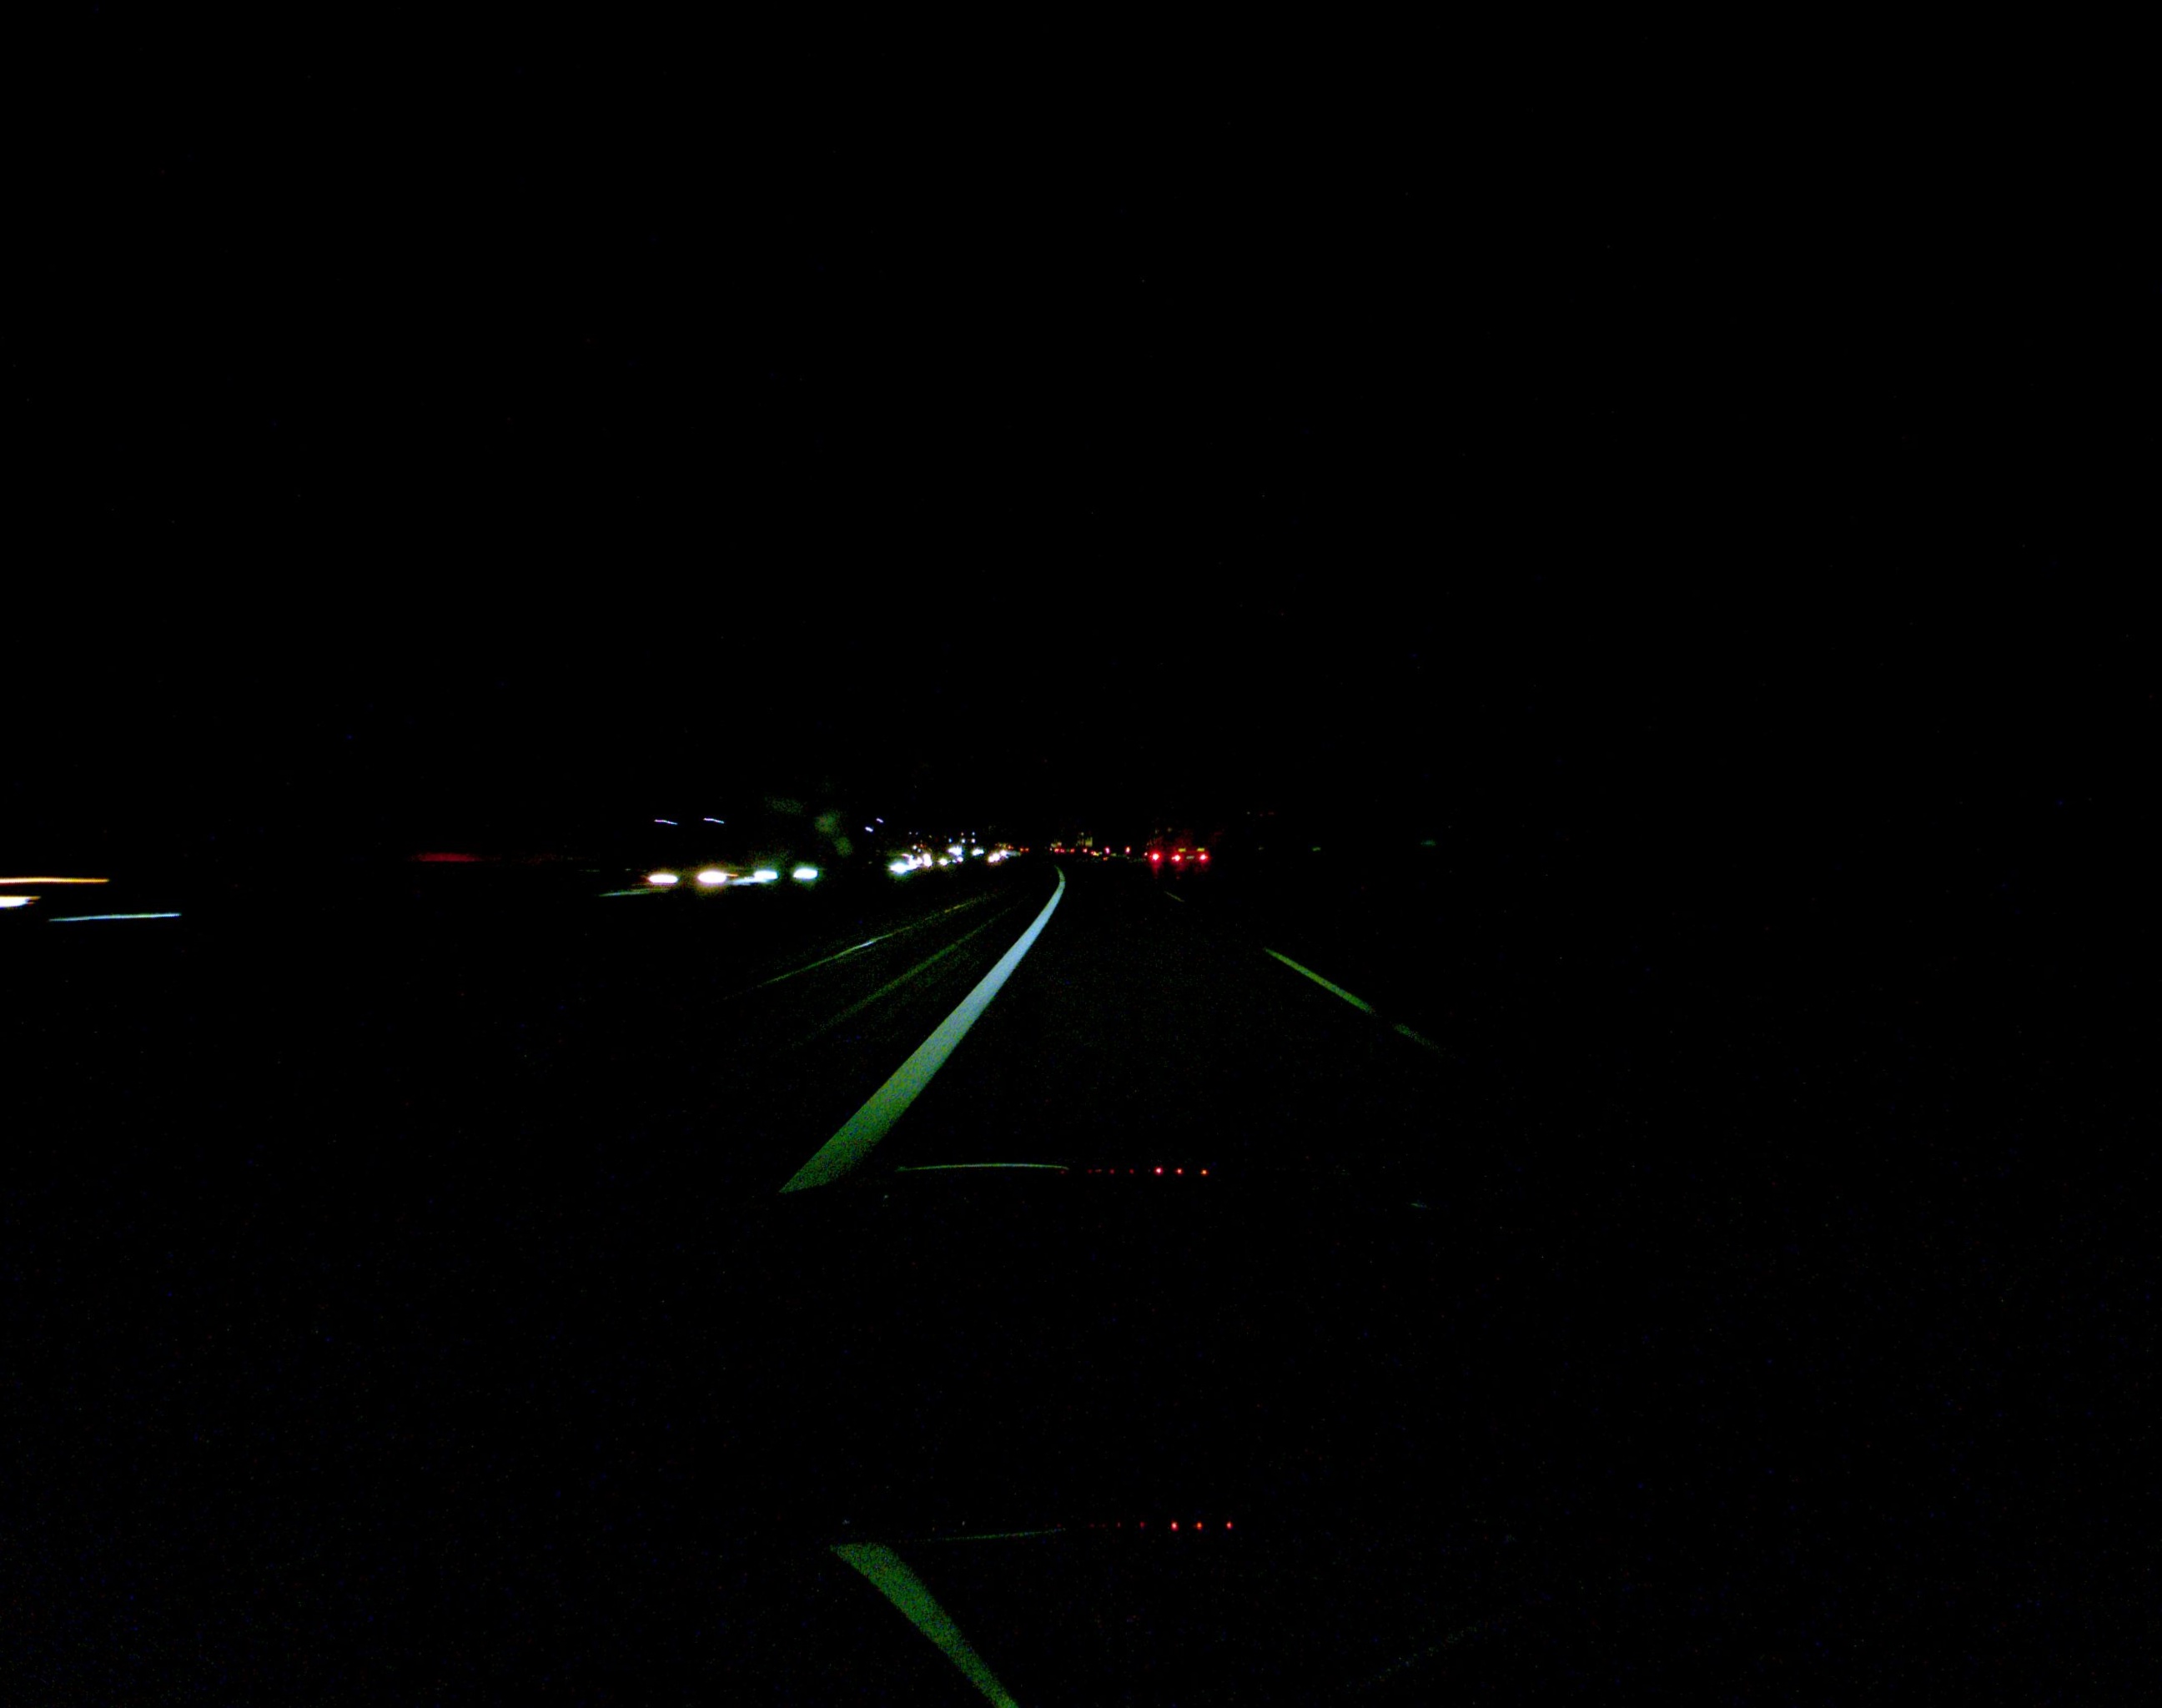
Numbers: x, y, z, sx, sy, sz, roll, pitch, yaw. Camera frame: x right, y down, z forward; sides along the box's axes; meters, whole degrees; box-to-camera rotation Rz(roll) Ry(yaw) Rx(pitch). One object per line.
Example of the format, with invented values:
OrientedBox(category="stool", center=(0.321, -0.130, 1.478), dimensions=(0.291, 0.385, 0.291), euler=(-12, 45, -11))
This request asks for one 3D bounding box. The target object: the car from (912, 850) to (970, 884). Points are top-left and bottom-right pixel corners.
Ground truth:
OrientedBox(category="car", center=(-6.671, 0.611, 39.400), dimensions=(1.897, 1.492, 4.867), euler=(-1, 0, 0))

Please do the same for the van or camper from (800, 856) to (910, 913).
OrientedBox(category="van or camper", center=(-6.499, 0.816, 24.006), dimensions=(1.732, 1.465, 4.870), euler=(-1, 0, 2))

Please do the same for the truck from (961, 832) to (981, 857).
OrientedBox(category="truck", center=(-19.484, -1.633, 144.439), dimensions=(3.104, 4.097, 7.062), euler=(2, -1, -5))

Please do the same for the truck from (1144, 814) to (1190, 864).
OrientedBox(category="truck", center=(7.491, -1.271, 71.779), dimensions=(2.855, 4.076, 7.504), euler=(-1, 0, -2))

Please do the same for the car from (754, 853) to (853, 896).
OrientedBox(category="car", center=(-10.440, 0.720, 31.032), dimensions=(1.896, 1.492, 4.939), euler=(-1, 0, 2))

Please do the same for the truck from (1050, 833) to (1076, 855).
OrientedBox(category="truck", center=(-3.896, -2.094, 174.321), dimensions=(3.345, 4.476, 13.860), euler=(2, 0, -10))

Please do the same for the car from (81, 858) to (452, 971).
OrientedBox(category="car", center=(-14.652, 0.956, 15.231), dimensions=(1.880, 1.676, 5.076), euler=(-1, 0, -2))

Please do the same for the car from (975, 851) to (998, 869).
OrientedBox(category="car", center=(-8.861, 0.612, 76.756), dimensions=(1.621, 1.492, 4.864), euler=(1, -2, -1))

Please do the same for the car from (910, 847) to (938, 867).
OrientedBox(category="car", center=(-16.785, 0.343, 87.320), dimensions=(1.897, 1.887, 5.020), euler=(1, -2, 1))

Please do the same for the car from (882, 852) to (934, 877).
OrientedBox(category="car", center=(-10.781, 0.631, 51.119), dimensions=(1.896, 1.492, 5.262), euler=(-1, 0, 2))

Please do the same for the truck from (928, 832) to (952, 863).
OrientedBox(category="truck", center=(-18.628, -0.931, 107.701), dimensions=(2.827, 3.916, 4.920), euler=(-2, 1, -9))

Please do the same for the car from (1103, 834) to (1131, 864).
OrientedBox(category="car", center=(3.255, -0.399, 74.408), dimensions=(2.329, 2.640, 5.246), euler=(0, -1, 0))

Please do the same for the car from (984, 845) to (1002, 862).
OrientedBox(category="car", center=(-10.205, -0.074, 94.620), dimensions=(1.872, 1.923, 4.861), euler=(-1, 0, -3))

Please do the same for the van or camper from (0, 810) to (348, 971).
OrientedBox(category="van or camper", center=(-18.810, 0.604, 16.405), dimensions=(1.987, 2.656, 6.617), euler=(-1, 0, 0))

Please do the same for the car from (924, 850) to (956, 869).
OrientedBox(category="car", center=(-11.682, 0.463, 67.692), dimensions=(1.899, 1.492, 4.863), euler=(-1, 0, -2))

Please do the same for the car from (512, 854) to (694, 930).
OrientedBox(category="car", center=(-11.297, 0.857, 19.673), dimensions=(1.893, 1.523, 4.344), euler=(-3, -1, -3))

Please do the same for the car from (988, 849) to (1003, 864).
OrientedBox(category="car", center=(-11.334, 0.352, 108.635), dimensions=(1.873, 1.923, 5.593), euler=(-1, 0, -5))

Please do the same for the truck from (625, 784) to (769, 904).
OrientedBox(category="truck", center=(-14.845, -0.375, 32.072), dimensions=(2.858, 4.210, 6.100), euler=(-1, 0, -3))

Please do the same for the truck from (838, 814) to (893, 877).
OrientedBox(category="truck", center=(-15.492, -0.586, 58.969), dimensions=(2.610, 4.269, 5.950), euler=(-1, 0, -3))

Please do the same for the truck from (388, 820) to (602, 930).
OrientedBox(category="truck", center=(-14.789, 0.471, 21.017), dimensions=(1.989, 2.458, 5.045), euler=(-1, 0, -3))

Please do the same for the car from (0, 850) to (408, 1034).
OrientedBox(category="car", center=(-11.201, 0.936, 10.411), dimensions=(1.671, 1.851, 4.110), euler=(2, -1, 0))

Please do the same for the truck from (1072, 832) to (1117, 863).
OrientedBox(category="truck", center=(1.977, -0.891, 134.351), dimensions=(3.914, 4.627, 20.953), euler=(-2, 0, -9))

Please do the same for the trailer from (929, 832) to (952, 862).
OrientedBox(category="trailer", center=(-19.267, -0.992, 111.973), dimensions=(2.819, 3.917, 8.714), euler=(-2, 1, -9))

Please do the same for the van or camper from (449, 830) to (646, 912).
OrientedBox(category="van or camper", center=(-19.203, 0.538, 29.975), dimensions=(2.575, 2.592, 7.109), euler=(-1, 0, -1))

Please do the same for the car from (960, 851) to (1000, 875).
OrientedBox(category="car", center=(-6.646, 0.600, 54.171), dimensions=(1.896, 1.492, 4.870), euler=(-1, 0, 2))

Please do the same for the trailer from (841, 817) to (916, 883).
OrientedBox(category="trailer", center=(-15.966, -0.272, 65.520), dimensions=(2.834, 4.463, 14.503), euler=(-6, 0, -4))

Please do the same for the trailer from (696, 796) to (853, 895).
OrientedBox(category="trailer", center=(-15.075, -0.427, 41.972), dimensions=(2.868, 4.184, 14.514), euler=(-1, 0, -2))

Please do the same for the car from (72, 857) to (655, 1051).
OrientedBox(category="car", center=(-6.948, 0.800, 8.863), dimensions=(1.896, 1.492, 4.870), euler=(-1, 0, 2))

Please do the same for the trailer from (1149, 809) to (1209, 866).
OrientedBox(category="trailer", center=(7.678, -1.235, 65.773), dimensions=(2.846, 4.067, 13.195), euler=(-1, 0, -2))
